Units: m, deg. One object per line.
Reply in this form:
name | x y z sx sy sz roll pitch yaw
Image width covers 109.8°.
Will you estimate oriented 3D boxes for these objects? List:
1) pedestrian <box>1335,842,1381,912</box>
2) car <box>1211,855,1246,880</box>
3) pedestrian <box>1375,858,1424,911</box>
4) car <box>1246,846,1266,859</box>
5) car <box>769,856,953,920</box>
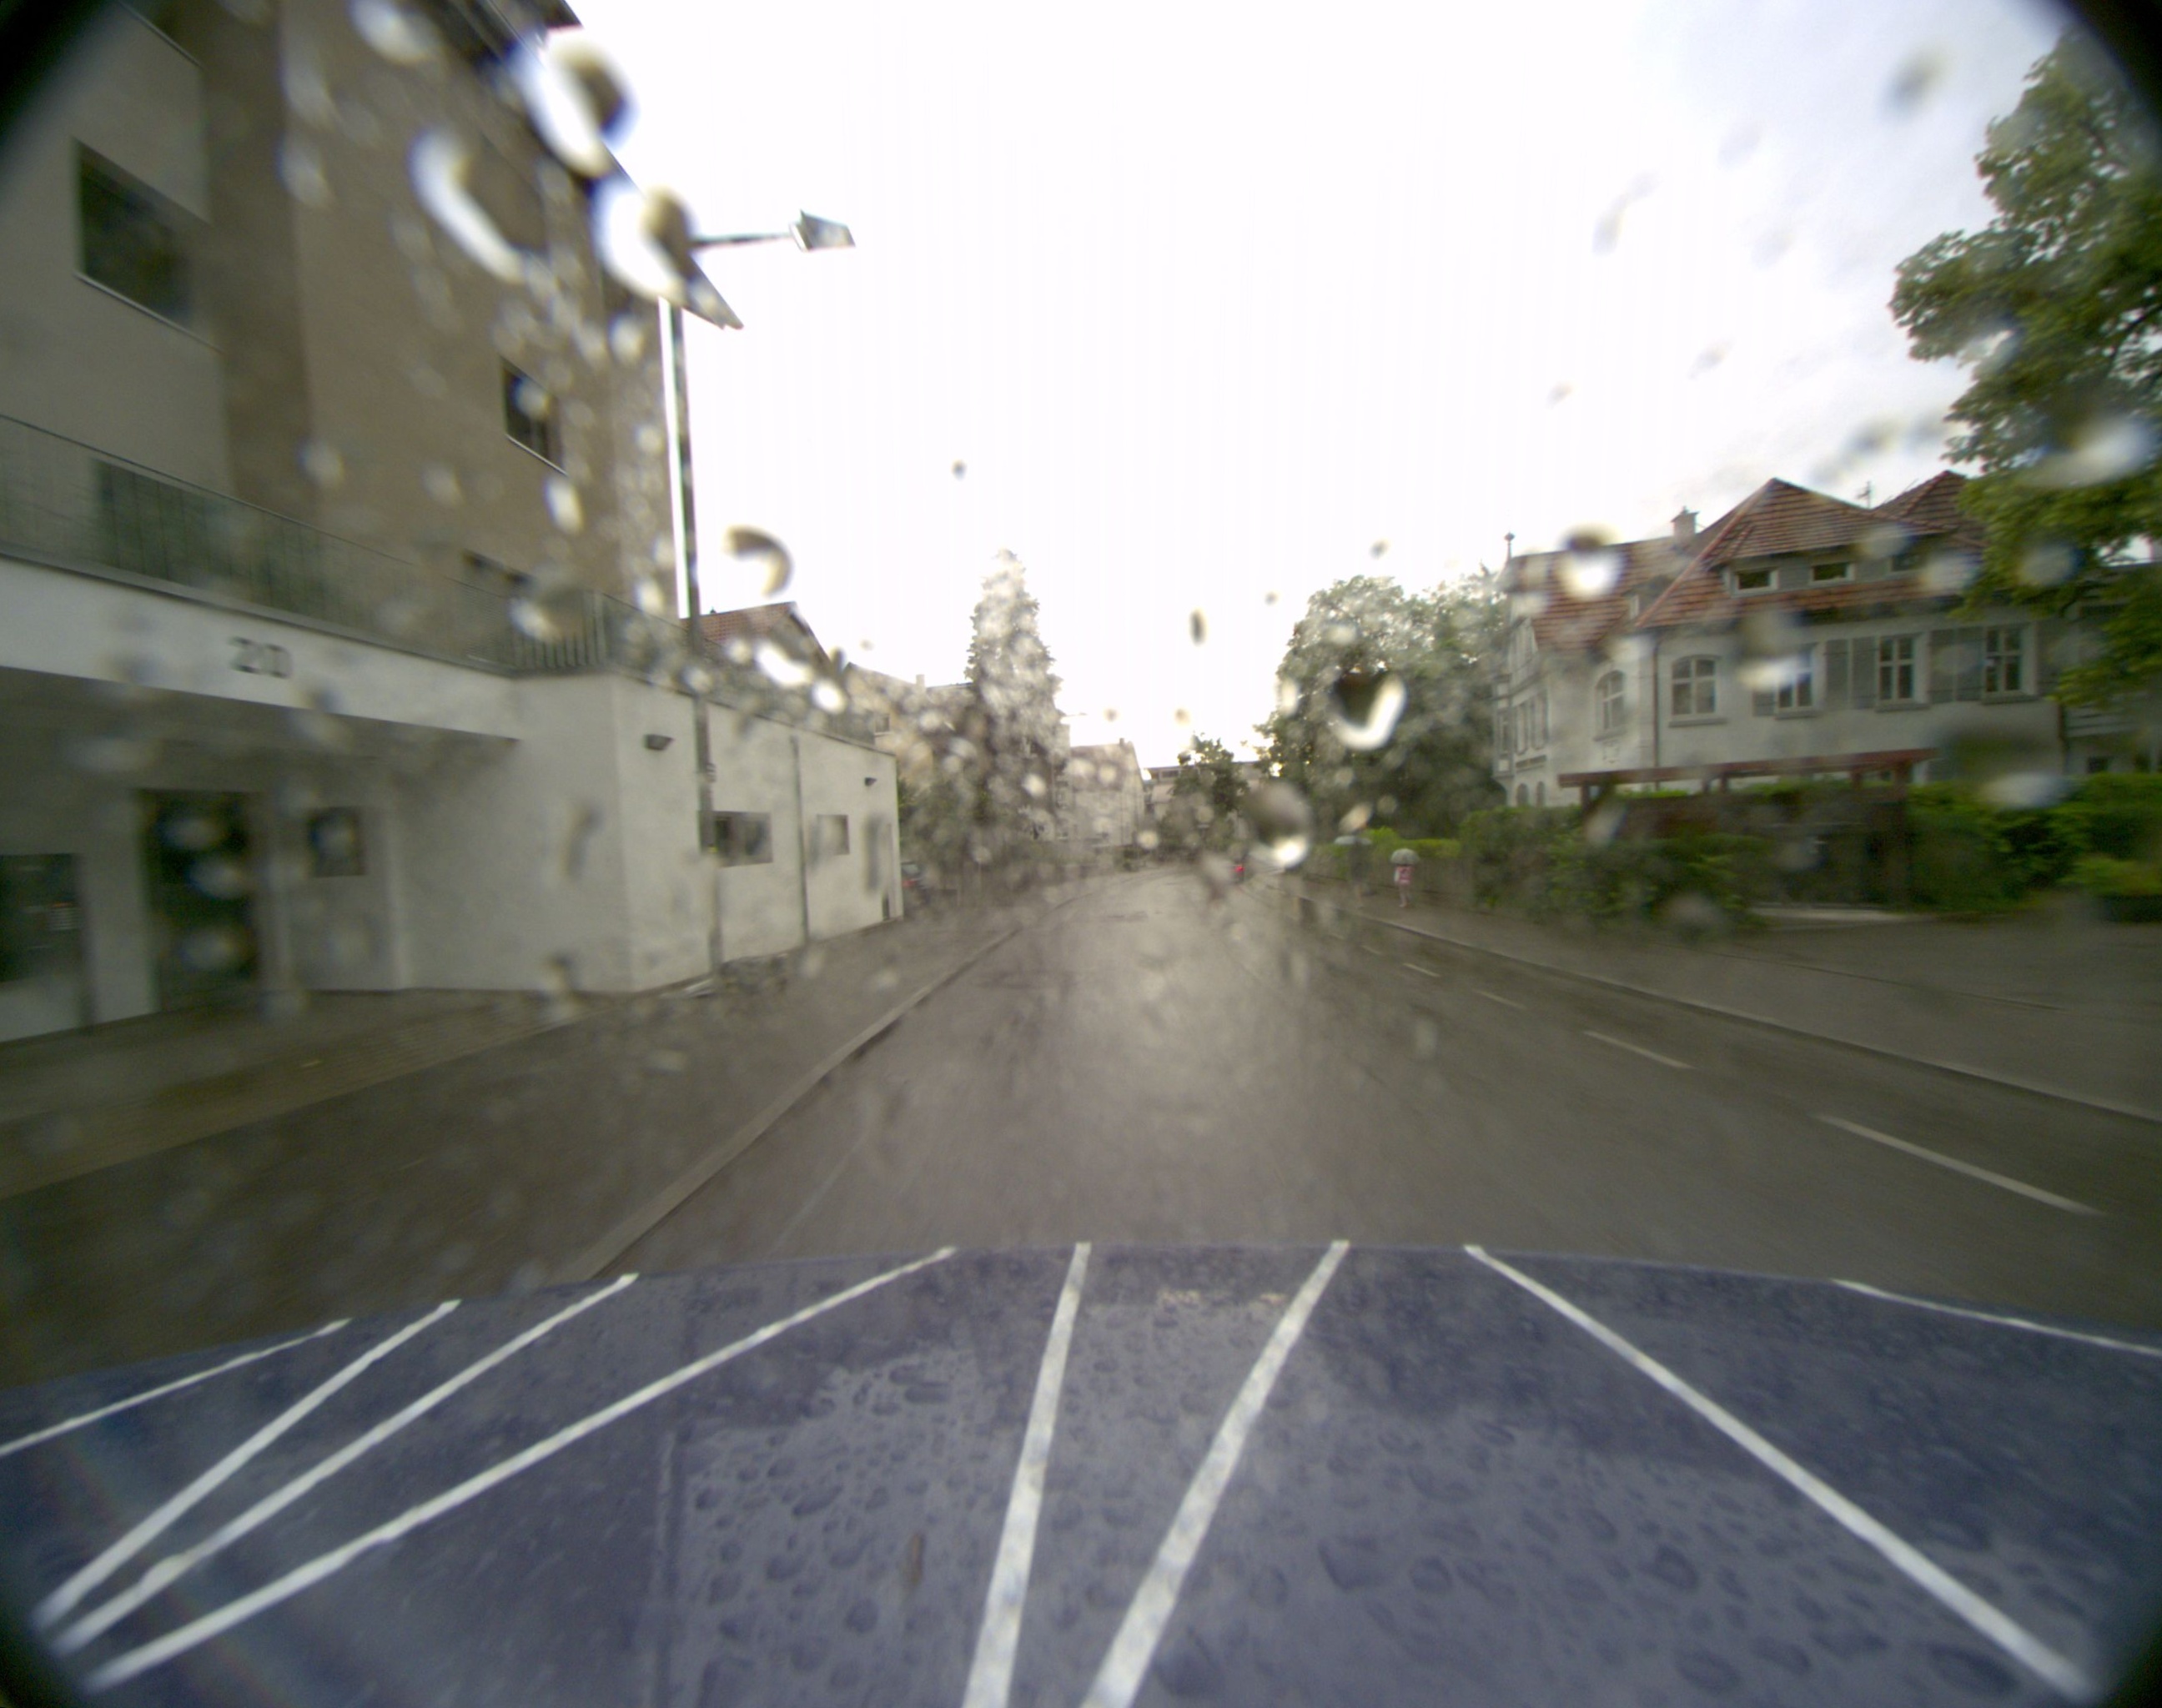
pedestrian | 6.845 0.549 18.828 0.757 1.634 1.040 -3 1 6
car | 7.585 0.651 39.170 1.682 1.140 4.003 -1 0 11
pedestrian | 7.601 0.720 18.157 0.757 1.173 1.040 -3 0 6
car | 23.828 -0.186 103.360 1.782 1.561 4.735 -3 -1 22
car | -5.546 0.847 19.328 3.992 1.449 2.002 -1 1 16
